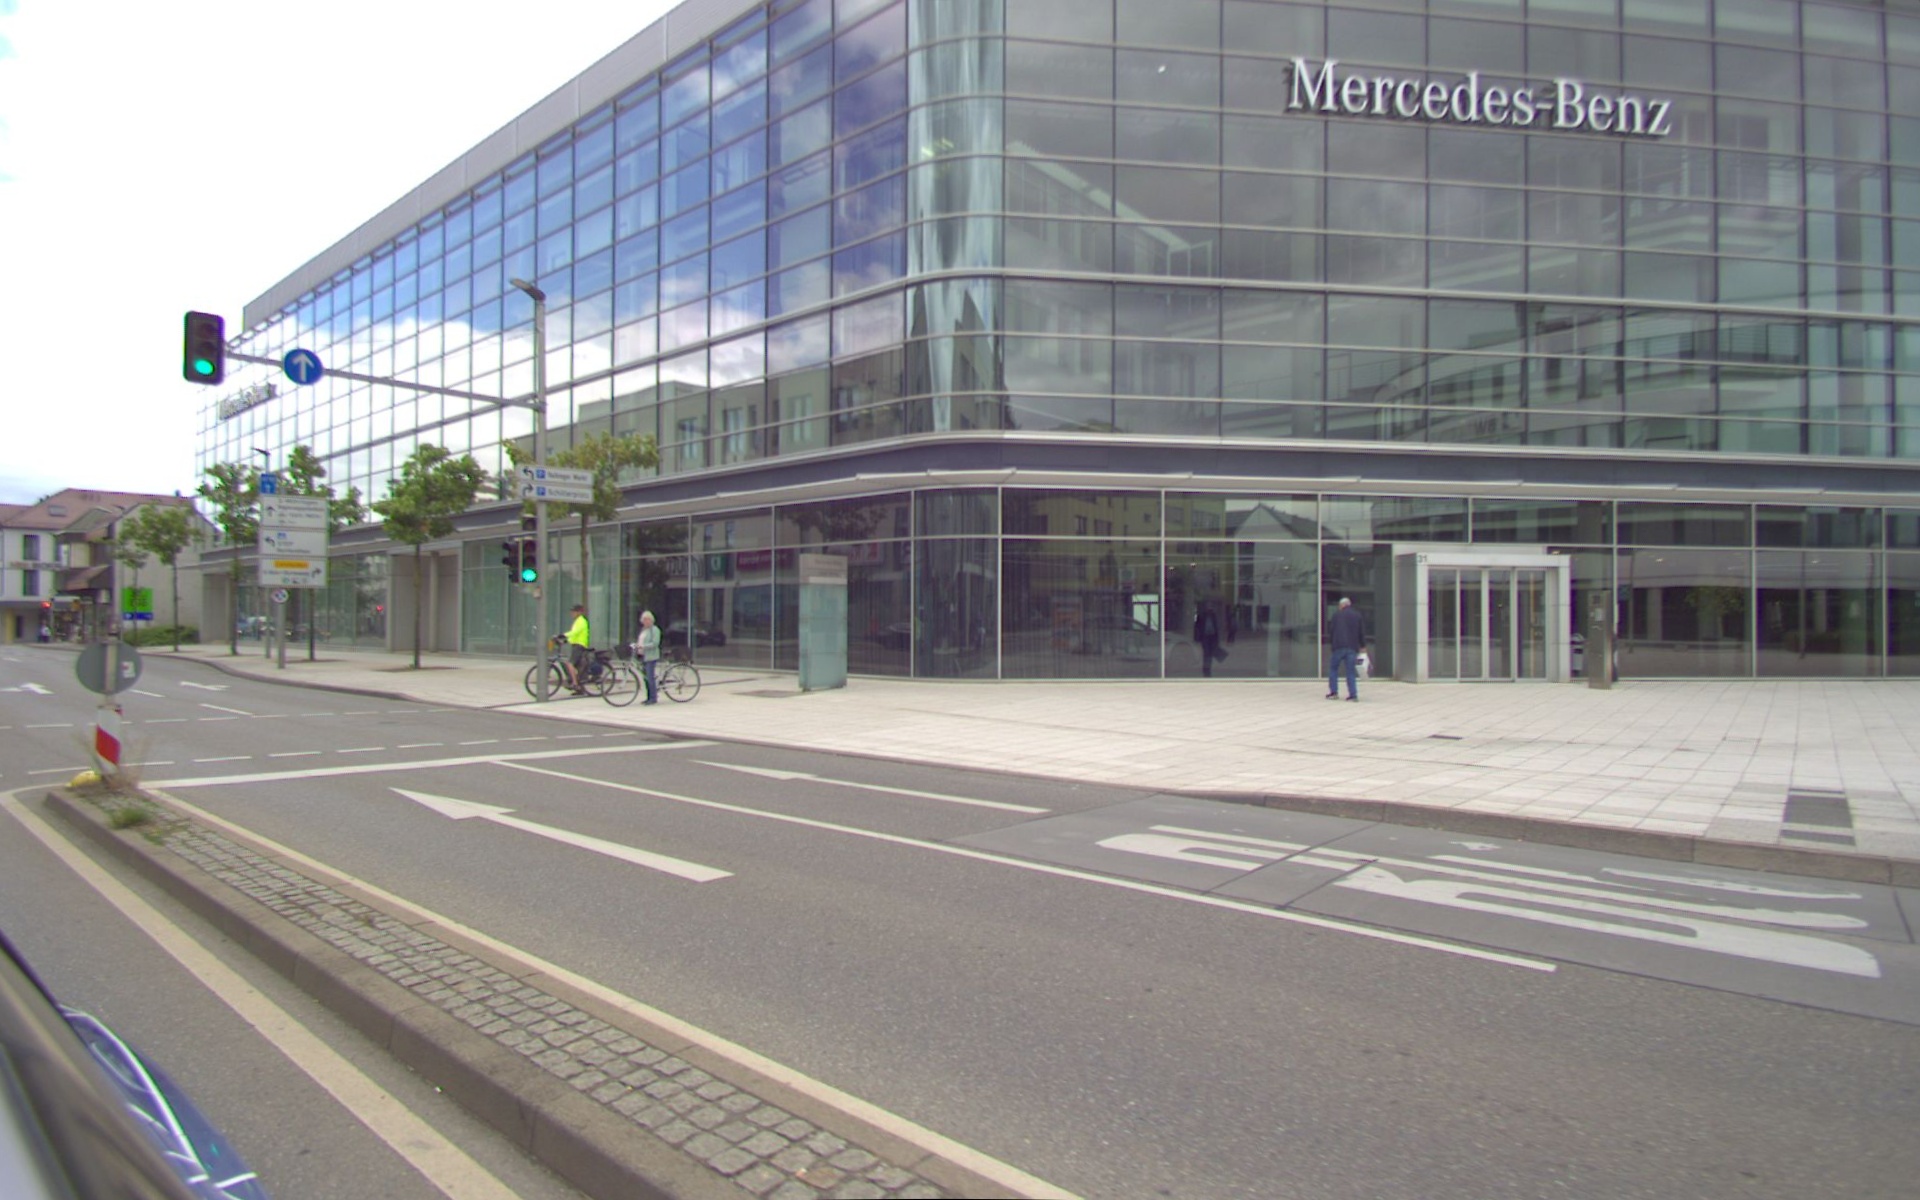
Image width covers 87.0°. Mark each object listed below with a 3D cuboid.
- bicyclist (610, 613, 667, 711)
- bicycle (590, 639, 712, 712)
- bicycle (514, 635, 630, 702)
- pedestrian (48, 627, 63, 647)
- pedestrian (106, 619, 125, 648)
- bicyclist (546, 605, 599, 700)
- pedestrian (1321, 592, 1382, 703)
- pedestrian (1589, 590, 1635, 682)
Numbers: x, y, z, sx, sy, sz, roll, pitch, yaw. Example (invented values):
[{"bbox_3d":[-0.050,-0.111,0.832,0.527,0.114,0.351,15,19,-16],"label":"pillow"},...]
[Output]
[{"bbox_3d":[-5.744,1.083,18.086,0.771,1.661,0.640,-2,1,-34],"label":"bicyclist"},{"bbox_3d":[-5.547,1.326,18.223,1.973,1.139,0.640,-2,1,-34],"label":"bicycle"},{"bbox_3d":[-7.709,1.348,20.170,2.000,1.215,0.748,-2,1,-5],"label":"bicycle"},{"bbox_3d":[-68.630,2.804,76.784,0.577,1.527,0.552,0,-2,8],"label":"pedestrian"},{"bbox_3d":[-49.539,1.963,59.369,0.693,1.636,0.693,-2,-2,40],"label":"pedestrian"},{"bbox_3d":[-7.718,1.026,20.162,0.762,1.813,0.748,-2,1,-5],"label":"bicyclist"},{"bbox_3d":[7.119,0.838,18.425,0.740,1.960,0.902,-1,0,2],"label":"pedestrian"},{"bbox_3d":[14.102,0.770,21.920,0.746,1.960,0.680,-1,0,28],"label":"pedestrian"}]
